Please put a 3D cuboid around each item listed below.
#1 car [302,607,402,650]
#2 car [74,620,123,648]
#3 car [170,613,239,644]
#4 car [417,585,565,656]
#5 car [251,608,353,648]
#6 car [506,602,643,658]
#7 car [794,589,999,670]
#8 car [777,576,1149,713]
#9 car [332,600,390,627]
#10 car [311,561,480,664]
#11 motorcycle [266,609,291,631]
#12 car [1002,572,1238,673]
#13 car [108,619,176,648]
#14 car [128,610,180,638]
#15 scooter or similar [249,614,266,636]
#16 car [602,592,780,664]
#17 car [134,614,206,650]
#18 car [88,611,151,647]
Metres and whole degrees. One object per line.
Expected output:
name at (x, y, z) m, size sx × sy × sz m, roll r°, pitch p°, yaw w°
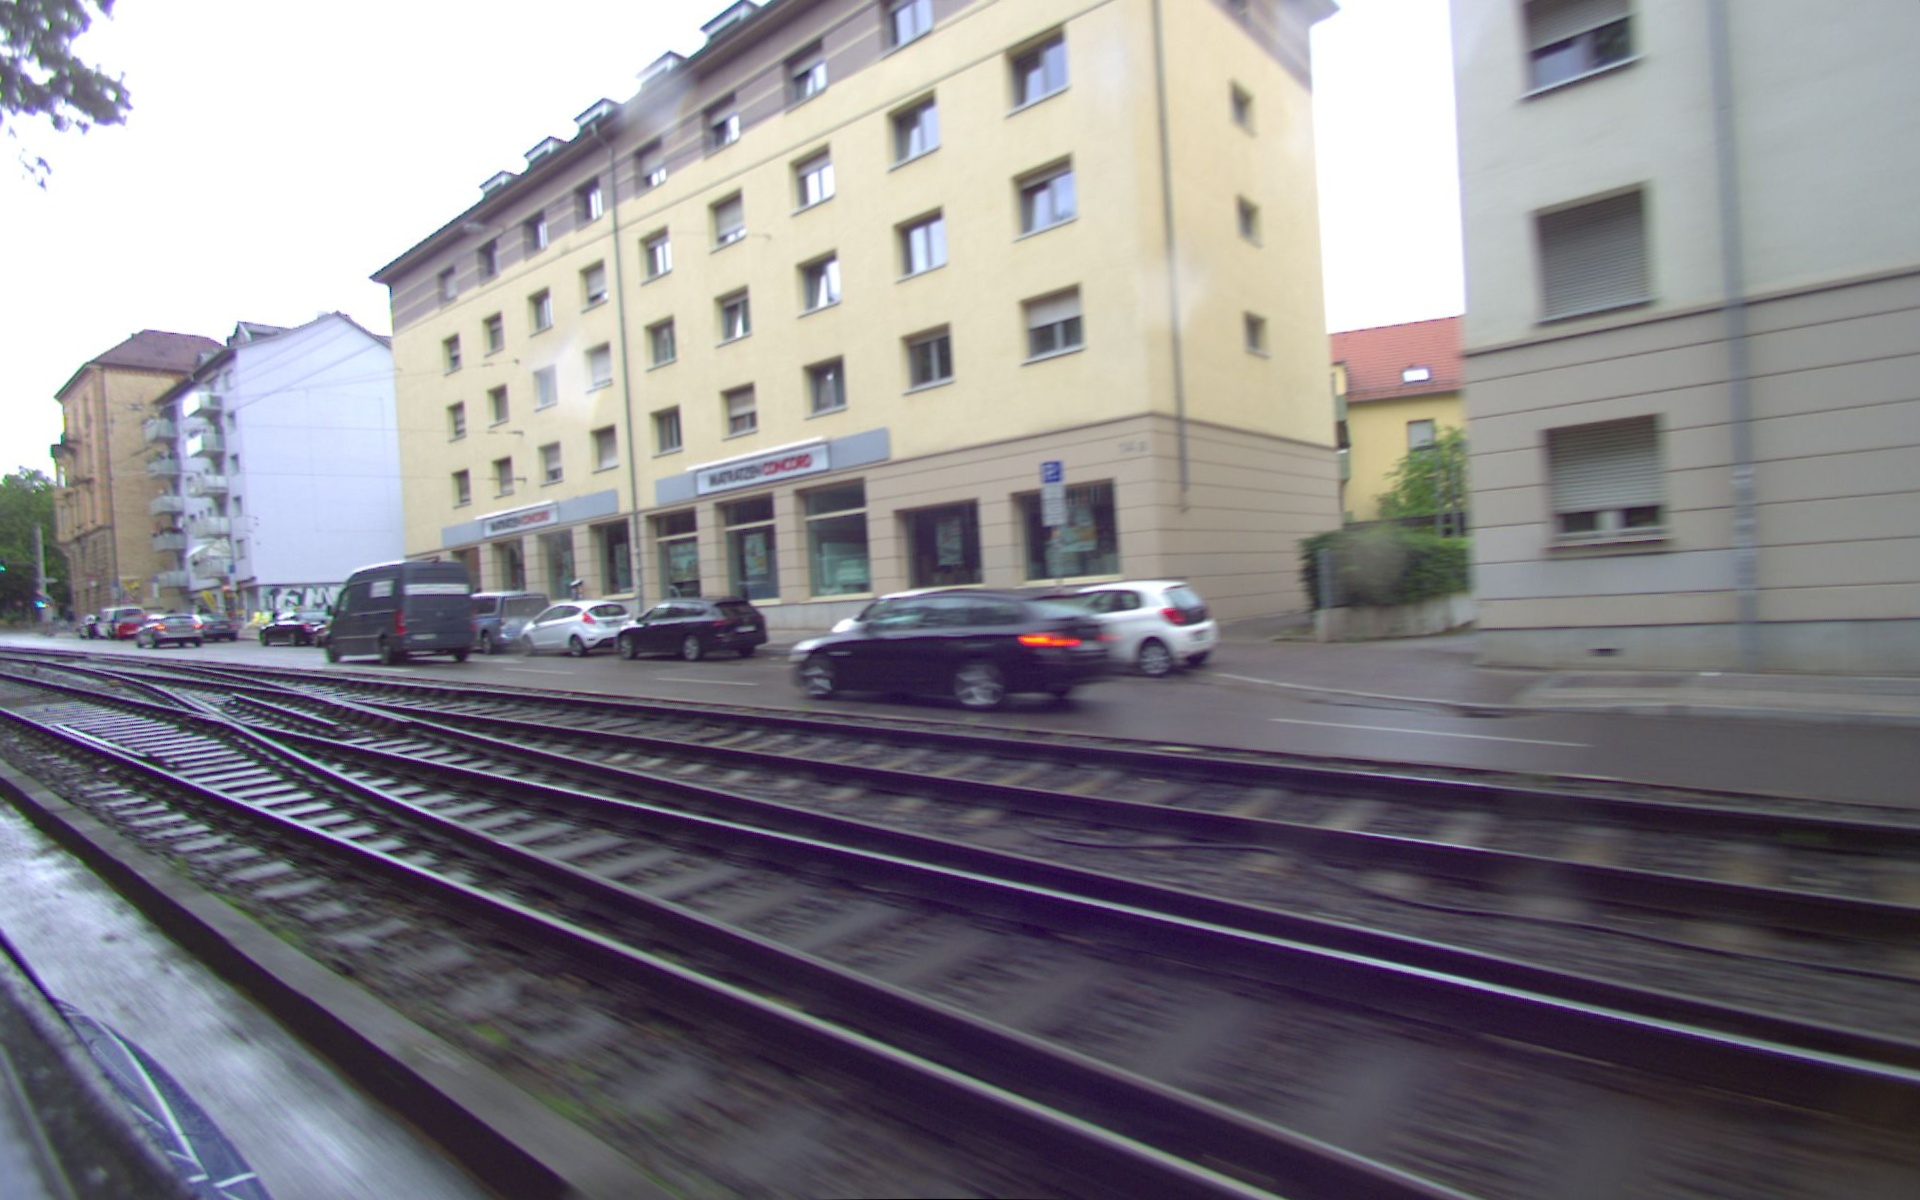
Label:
car at (-23.603, 1.081, 39.218) m, size 4.828 × 1.443 × 1.833 m, roll -1°, pitch 2°, yaw 40°
car at (-57.622, 2.252, 67.669) m, size 4.360 × 1.663 × 1.716 m, roll -1°, pitch 1°, yaw 40°
car at (-37.931, 1.428, 50.800) m, size 4.617 × 1.406 × 1.663 m, roll -1°, pitch 1°, yaw 39°
car at (-14.582, 0.657, 31.295) m, size 5.456 × 1.919 × 1.974 m, roll -2°, pitch 2°, yaw 41°
car at (-27.604, 1.156, 42.400) m, size 4.980 × 1.519 × 1.836 m, roll -1°, pitch 1°, yaw 35°
car at (-10.735, 0.854, 28.054) m, size 4.043 × 1.450 × 1.675 m, roll -2°, pitch -3°, yaw 38°
car at (-1.319, 0.577, 20.305) m, size 3.929 × 1.407 × 1.688 m, roll -2°, pitch 2°, yaw 37°
car at (-0.120, 0.578, 13.414) m, size 4.851 × 1.497 × 1.861 m, roll -3°, pitch -1°, yaw 41°
car at (-33.619, 0.767, 56.764) m, size 1.849 × 1.313 × 4.482 m, roll -3°, pitch 1°, yaw -43°
car at (-15.238, 0.281, 27.148) m, size 5.995 × 2.470 × 1.973 m, roll 0°, pitch 1°, yaw 41°
motorcycle at (-40.796, 1.217, 60.566) m, size 1.783 × 1.208 × 0.633 m, roll 1°, pitch 6°, yaw 39°
car at (2.673, 0.360, 17.153) m, size 3.537 × 1.460 × 1.692 m, roll -1°, pitch 3°, yaw 38°
car at (-49.567, 2.007, 61.436) m, size 1.755 × 1.444 × 3.994 m, roll -3°, pitch 1°, yaw -16°
car at (-45.767, 1.335, 57.467) m, size 4.073 × 1.462 × 1.636 m, roll -1°, pitch 1°, yaw 42°
scooter or similar at (-42.001, 1.482, 60.499) m, size 0.614 × 1.209 × 1.900 m, roll -5°, pitch 2°, yaw -30°
car at (-6.564, 0.659, 24.452) m, size 4.579 × 1.510 × 1.795 m, roll -2°, pitch 2°, yaw 40°
car at (-34.969, 1.388, 44.760) m, size 4.278 × 1.473 × 1.694 m, roll -1°, pitch 0°, yaw 41°
car at (-53.391, 1.858, 64.269) m, size 5.297 × 2.023 × 2.050 m, roll -2°, pitch 4°, yaw 40°
